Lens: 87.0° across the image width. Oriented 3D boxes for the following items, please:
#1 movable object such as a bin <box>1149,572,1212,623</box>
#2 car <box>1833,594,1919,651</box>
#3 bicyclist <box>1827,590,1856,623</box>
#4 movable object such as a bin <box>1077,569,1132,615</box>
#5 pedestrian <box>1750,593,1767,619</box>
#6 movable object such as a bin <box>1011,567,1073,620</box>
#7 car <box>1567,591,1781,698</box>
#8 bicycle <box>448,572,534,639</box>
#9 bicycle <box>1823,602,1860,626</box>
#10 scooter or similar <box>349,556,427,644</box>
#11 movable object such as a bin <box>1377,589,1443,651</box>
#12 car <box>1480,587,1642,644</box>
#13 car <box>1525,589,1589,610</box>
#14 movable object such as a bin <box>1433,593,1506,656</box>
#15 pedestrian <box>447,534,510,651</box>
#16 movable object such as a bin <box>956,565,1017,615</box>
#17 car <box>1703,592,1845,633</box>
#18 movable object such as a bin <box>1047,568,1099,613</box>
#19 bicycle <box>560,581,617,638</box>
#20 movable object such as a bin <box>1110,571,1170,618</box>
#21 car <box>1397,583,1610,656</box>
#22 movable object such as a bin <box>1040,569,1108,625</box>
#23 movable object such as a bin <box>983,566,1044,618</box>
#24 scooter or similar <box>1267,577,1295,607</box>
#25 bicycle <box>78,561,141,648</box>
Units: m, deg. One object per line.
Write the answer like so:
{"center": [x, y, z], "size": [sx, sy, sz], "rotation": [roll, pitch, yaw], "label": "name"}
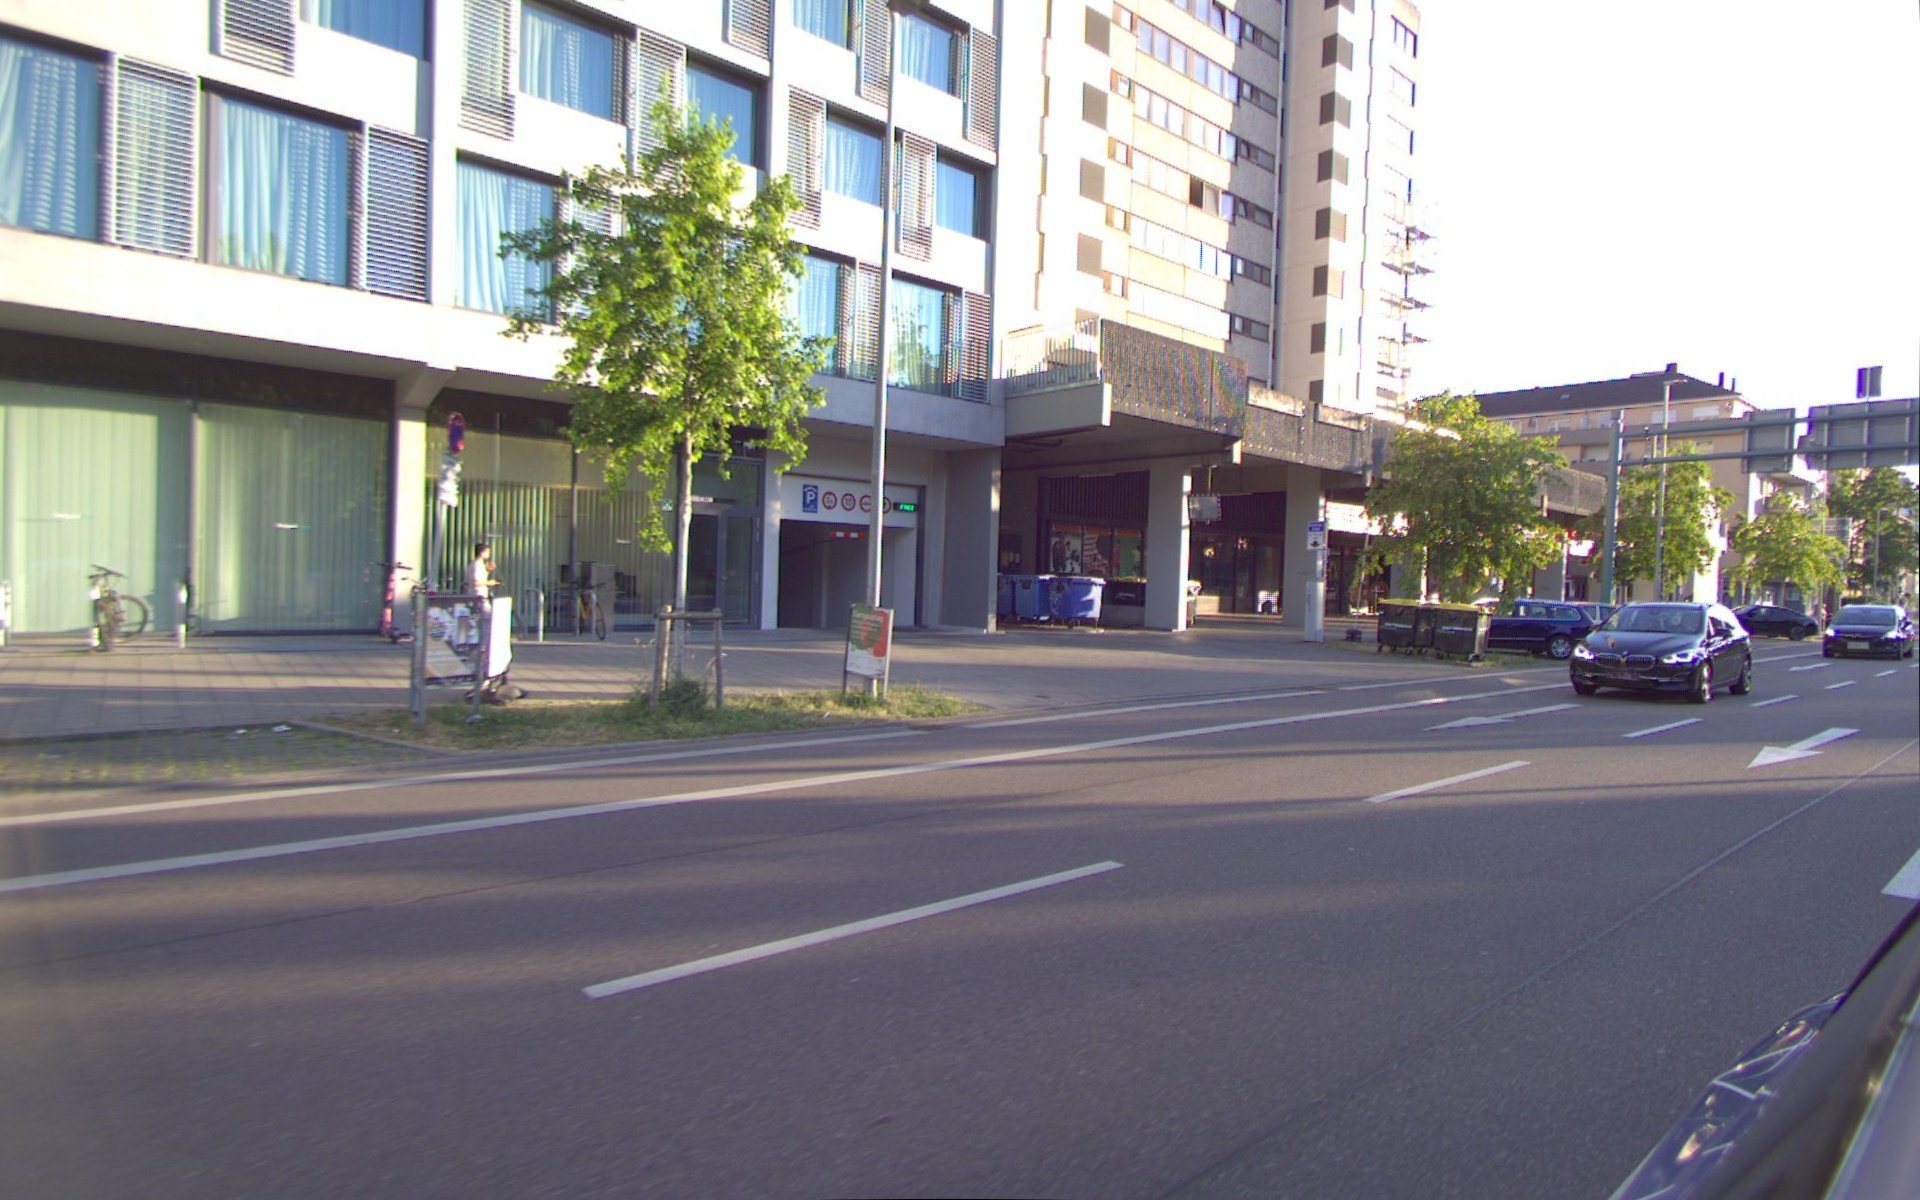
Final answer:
{"center": [6.288, -0.073, 28.848], "size": [1.245, 1.338, 1.184], "rotation": [1, 4, -42], "label": "movable object such as a bin"}
{"center": [28.307, 0.665, 31.023], "size": [4.291, 1.619, 1.825], "rotation": [1, 0, -42], "label": "car"}
{"center": [48.135, 0.327, 55.254], "size": [0.810, 1.713, 0.954], "rotation": [3, 2, 22], "label": "bicyclist"}
{"center": [4.402, -0.240, 30.883], "size": [1.105, 1.329, 1.184], "rotation": [1, 2, -42], "label": "movable object such as a bin"}
{"center": [58.774, 0.440, 74.467], "size": [0.534, 1.882, 0.839], "rotation": [0, 2, -40], "label": "pedestrian"}
{"center": [2.180, -0.170, 26.827], "size": [1.181, 1.346, 1.076], "rotation": [1, 2, -41], "label": "movable object such as a bin"}
{"center": [12.050, 0.655, 16.950], "size": [4.707, 1.538, 1.824], "rotation": [1, 0, -41], "label": "car"}
{"center": [-7.863, 0.073, 16.921], "size": [2.017, 0.969, 0.611], "rotation": [5, 3, 44], "label": "bicycle"}
{"center": [48.112, 0.752, 55.250], "size": [0.810, 1.187, 2.133], "rotation": [3, 2, 21], "label": "bicycle"}
{"center": [-8.987, -0.034, 15.857], "size": [0.610, 1.197, 2.378], "rotation": [1, 3, -40], "label": "scooter or similar"}
{"center": [10.781, 0.475, 24.256], "size": [1.142, 1.363, 1.015], "rotation": [1, 4, -45], "label": "movable object such as a bin"}
{"center": [18.857, 0.455, 31.950], "size": [3.930, 1.433, 1.746], "rotation": [4, 3, 12], "label": "car"}
{"center": [48.973, -0.084, 83.049], "size": [1.630, 1.457, 4.218], "rotation": [-4, 5, -44], "label": "car"}
{"center": [11.720, 0.550, 23.277], "size": [1.085, 1.317, 1.340], "rotation": [6, 4, 43], "label": "movable object such as a bin"}
{"center": [-6.993, -0.112, 14.685], "size": [0.632, 1.638, 0.577], "rotation": [1, 3, -43], "label": "pedestrian"}
{"center": [0.745, -0.283, 28.483], "size": [1.260, 1.346, 1.076], "rotation": [1, 2, -41], "label": "movable object such as a bin"}
{"center": [36.237, 0.535, 45.159], "size": [4.532, 1.471, 1.810], "rotation": [4, 2, 9], "label": "car"}
{"center": [3.536, -0.301, 31.735], "size": [1.069, 1.329, 1.184], "rotation": [1, 2, -42], "label": "movable object such as a bin"}
{"center": [-6.484, 0.153, 17.648], "size": [0.449, 0.902, 1.424], "rotation": [1, 2, -40], "label": "bicycle"}
{"center": [5.304, -0.166, 29.809], "size": [1.282, 1.315, 1.184], "rotation": [1, 2, -42], "label": "movable object such as a bin"}
{"center": [14.552, 0.476, 27.384], "size": [4.596, 1.526, 1.934], "rotation": [4, 3, 11], "label": "car"}
{"center": [2.934, -0.076, 25.993], "size": [1.260, 1.346, 1.107], "rotation": [1, 3, -41], "label": "movable object such as a bin"}
{"center": [1.456, -0.222, 27.675], "size": [1.260, 1.346, 1.035], "rotation": [1, 2, -41], "label": "movable object such as a bin"}
{"center": [12.560, -0.302, 39.614], "size": [0.400, 1.176, 1.804], "rotation": [0, -1, 40], "label": "scooter or similar"}
{"center": [-11.215, 0.032, 13.325], "size": [0.541, 0.998, 1.702], "rotation": [1, 3, -43], "label": "bicycle"}
